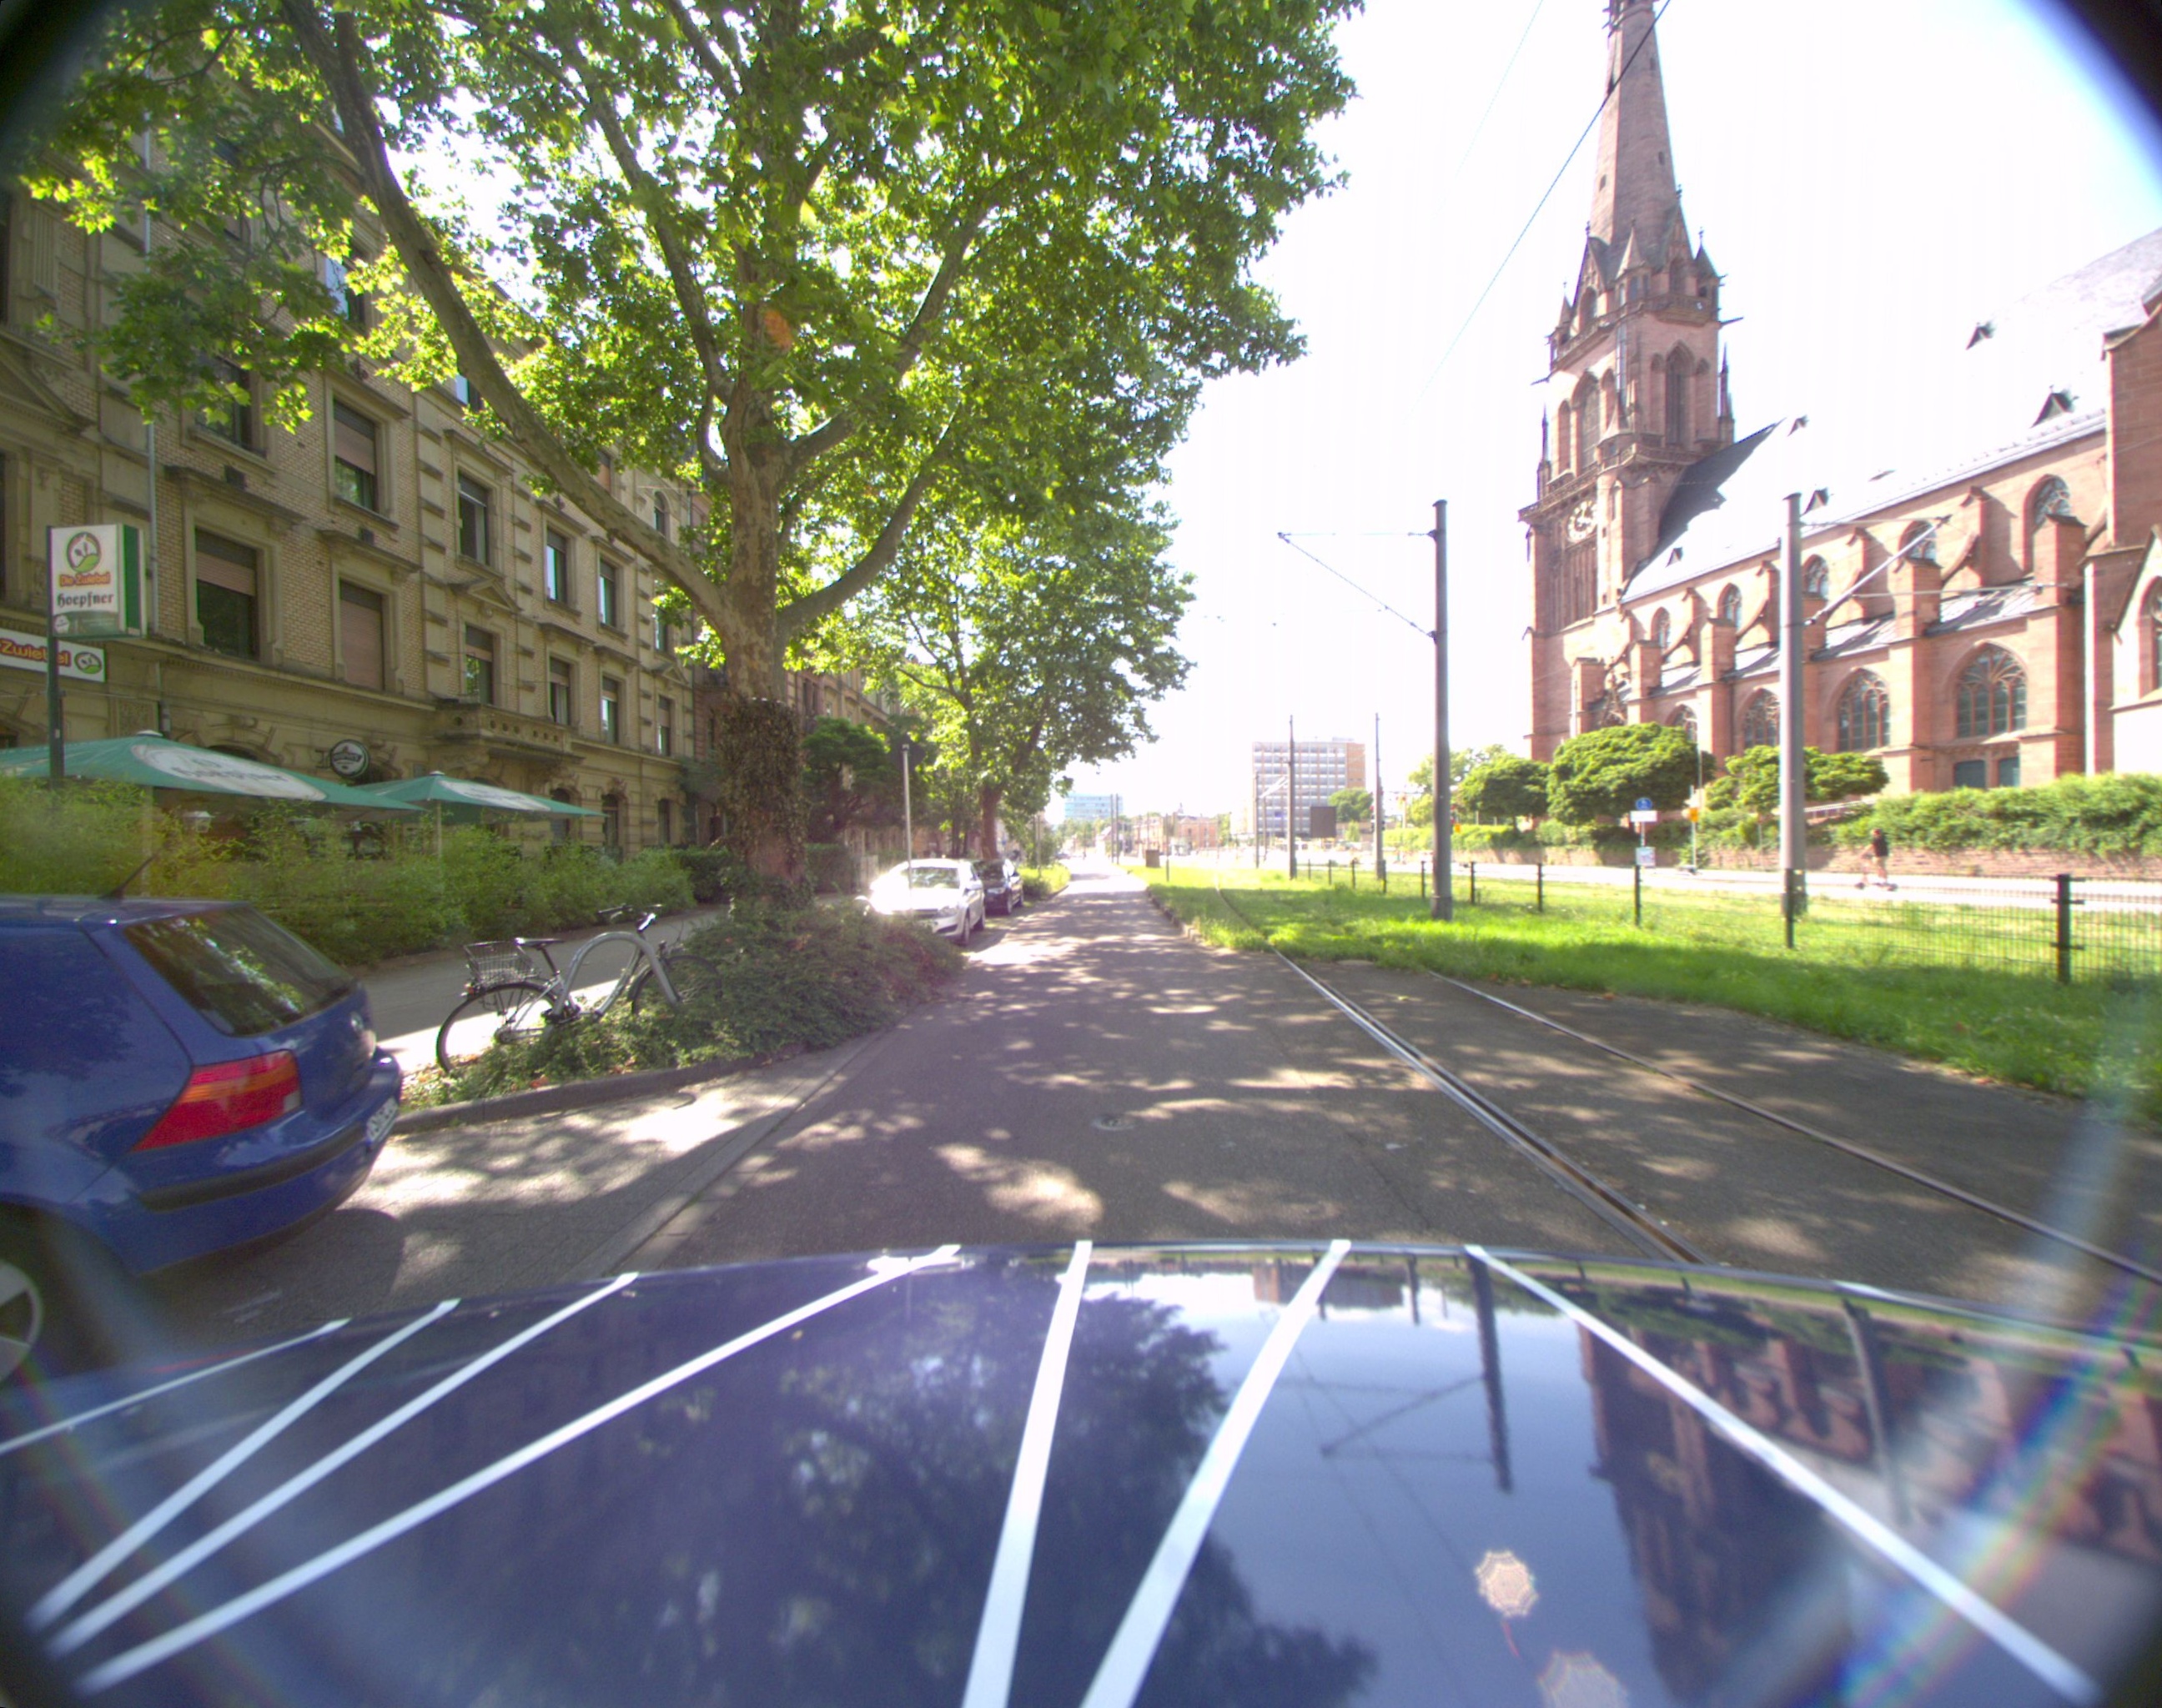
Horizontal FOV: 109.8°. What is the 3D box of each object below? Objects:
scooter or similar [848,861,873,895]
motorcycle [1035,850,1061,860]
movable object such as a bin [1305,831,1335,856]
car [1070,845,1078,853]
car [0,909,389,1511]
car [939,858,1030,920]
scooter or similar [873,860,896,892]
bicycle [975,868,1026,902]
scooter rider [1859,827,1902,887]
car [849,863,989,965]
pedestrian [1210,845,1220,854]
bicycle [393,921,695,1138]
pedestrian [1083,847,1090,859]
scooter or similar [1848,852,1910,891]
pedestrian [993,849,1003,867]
[{"bbox_3d":[-8.433,0.912,29.100,0.583,1.240,1.145,-1,1,1],"label":"scooter or similar"},{"bbox_3d":[-4.639,0.159,107.341,3.926,1.331,1.247,-1,1,41],"label":"motorcycle"},{"bbox_3d":[37.737,-1.702,120.040,3.340,3.859,2.932,-1,1,-33],"label":"movable object such as a bin"},{"bbox_3d":[-1.875,-1.258,202.730,1.998,2.002,4.000,-1,1,1],"label":"car"},{"bbox_3d":[-4.597,1.005,1.810,4.100,1.401,1.883,-1,1,-34],"label":"car"},{"bbox_3d":[-2.590,0.896,21.433,1.838,1.499,4.643,-1,0,1],"label":"car"},{"bbox_3d":[-8.233,0.902,31.821,0.583,1.275,1.145,-1,1,3],"label":"scooter or similar"},{"bbox_3d":[-2.684,1.024,25.414,1.641,1.082,0.470,-1,1,-32],"label":"bicycle"},{"bbox_3d":[25.344,0.092,24.106,0.668,1.856,0.664,-1,1,3],"label":"scooter rider"},{"bbox_3d":[-2.828,0.973,14.273,1.838,1.499,4.490,-1,0,-3],"label":"car"},{"bbox_3d":[25.336,-0.831,143.830,1.426,1.796,1.422,-1,1,-3],"label":"pedestrian"},{"bbox_3d":[-3.553,1.089,5.190,0.421,1.099,1.619,0,1,33],"label":"bicycle"},{"bbox_3d":[0.750,-0.120,105.173,0.850,1.644,1.128,-1,1,1],"label":"pedestrian"},{"bbox_3d":[25.313,0.558,24.122,1.269,1.197,0.657,-1,1,2],"label":"scooter or similar"},{"bbox_3d":[-7.801,0.391,71.827,0.797,1.708,0.967,-1,1,0],"label":"pedestrian"}]
